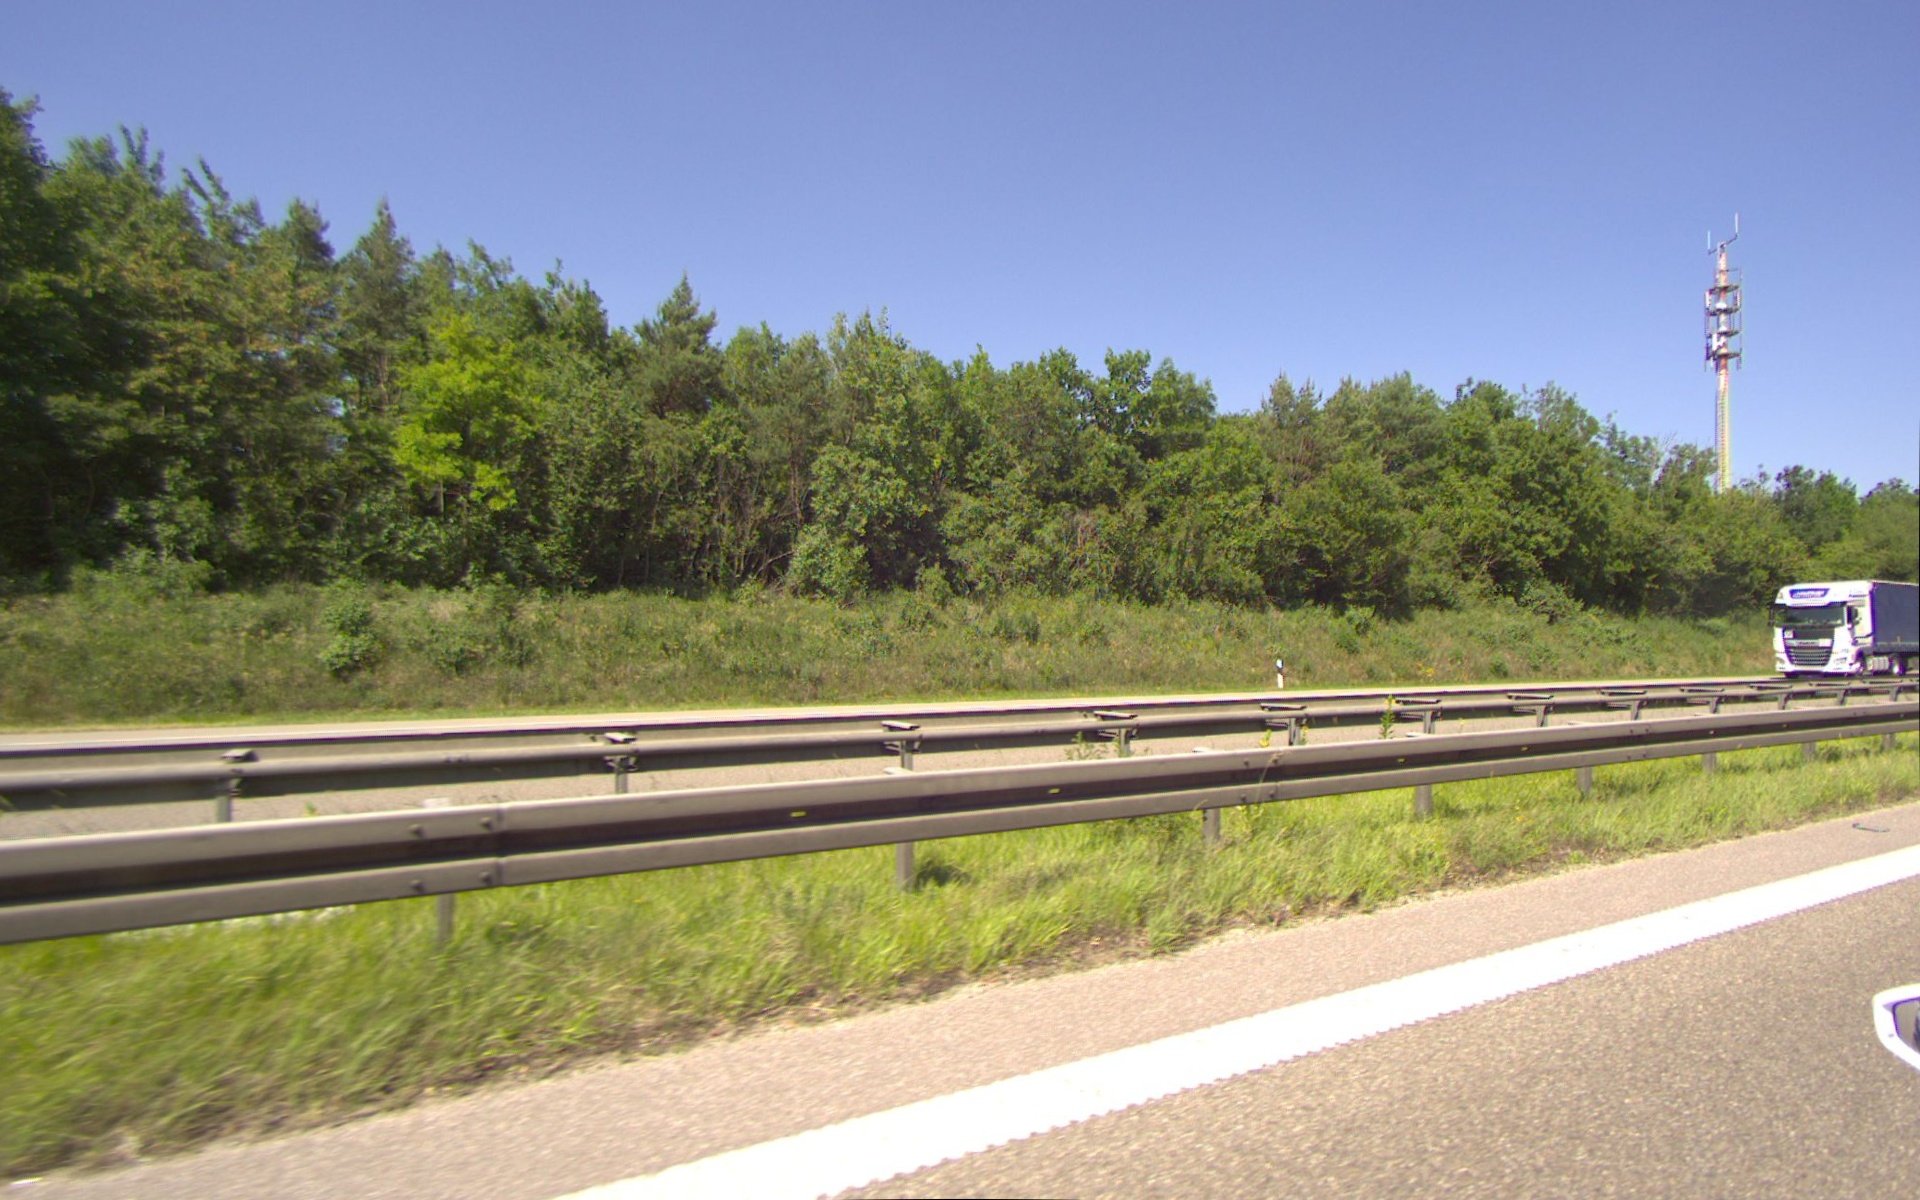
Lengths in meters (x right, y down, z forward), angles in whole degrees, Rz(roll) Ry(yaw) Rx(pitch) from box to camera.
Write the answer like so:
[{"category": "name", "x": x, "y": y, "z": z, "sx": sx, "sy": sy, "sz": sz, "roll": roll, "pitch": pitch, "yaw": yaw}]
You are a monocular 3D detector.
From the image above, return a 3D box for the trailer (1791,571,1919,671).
[{"category": "trailer", "x": 42.790, "y": 1.089, "z": 46.045, "sx": 14.005, "sy": 4.111, "sz": 2.603, "roll": 1, "pitch": -4, "yaw": -31}]

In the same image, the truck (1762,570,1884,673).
[{"category": "truck", "x": 36.067, "y": 0.956, "z": 42.005, "sx": 3.954, "sy": 4.111, "sz": 2.603, "roll": 1, "pitch": -4, "yaw": -31}]
